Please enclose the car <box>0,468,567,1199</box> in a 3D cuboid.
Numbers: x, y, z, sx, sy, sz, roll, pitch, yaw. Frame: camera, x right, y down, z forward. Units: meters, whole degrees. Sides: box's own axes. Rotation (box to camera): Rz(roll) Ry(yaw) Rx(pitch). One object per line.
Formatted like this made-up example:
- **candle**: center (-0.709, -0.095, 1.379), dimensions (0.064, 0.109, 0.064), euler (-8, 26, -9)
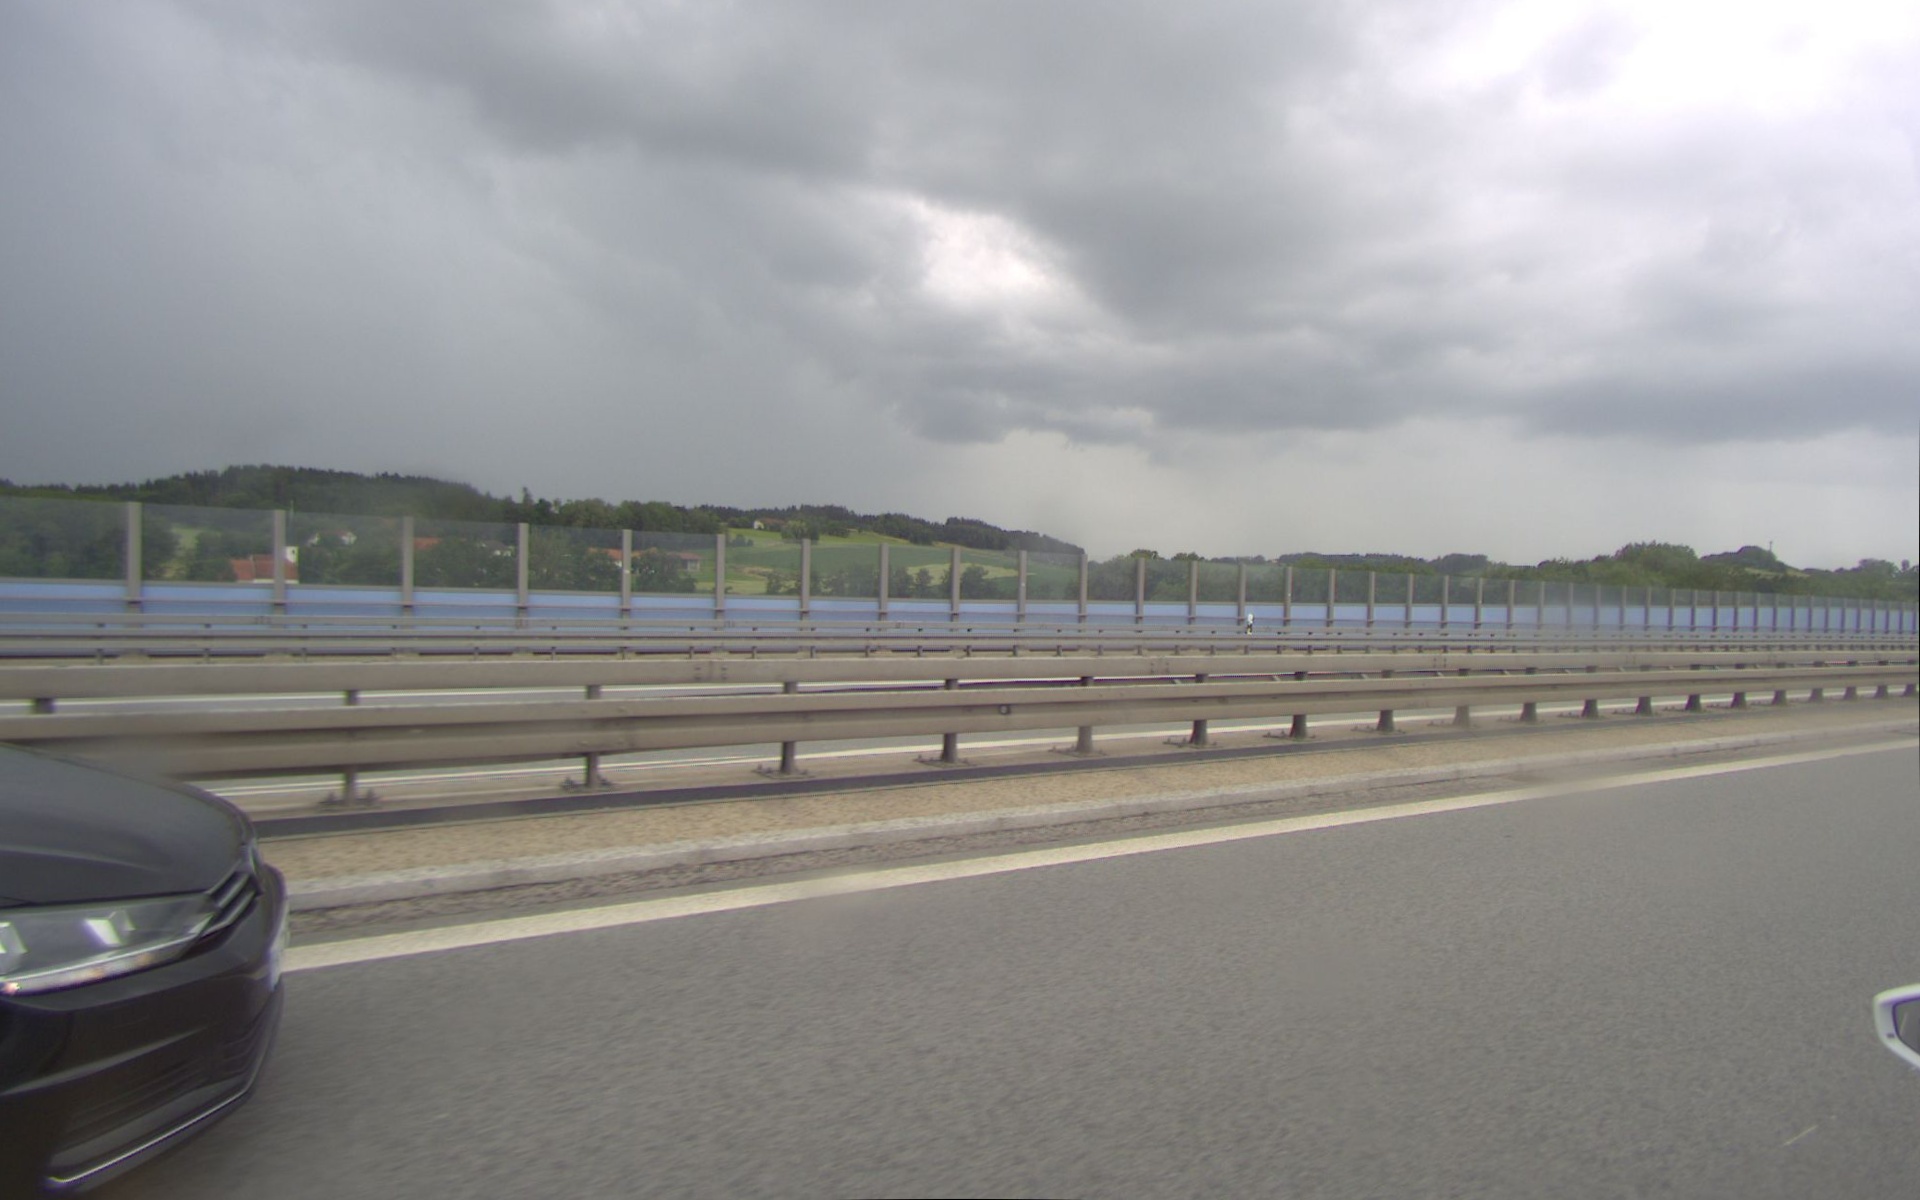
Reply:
- **car**: center (-3.688, 0.563, 1.795), dimensions (5.334, 1.693, 1.887), euler (1, 0, -31)
